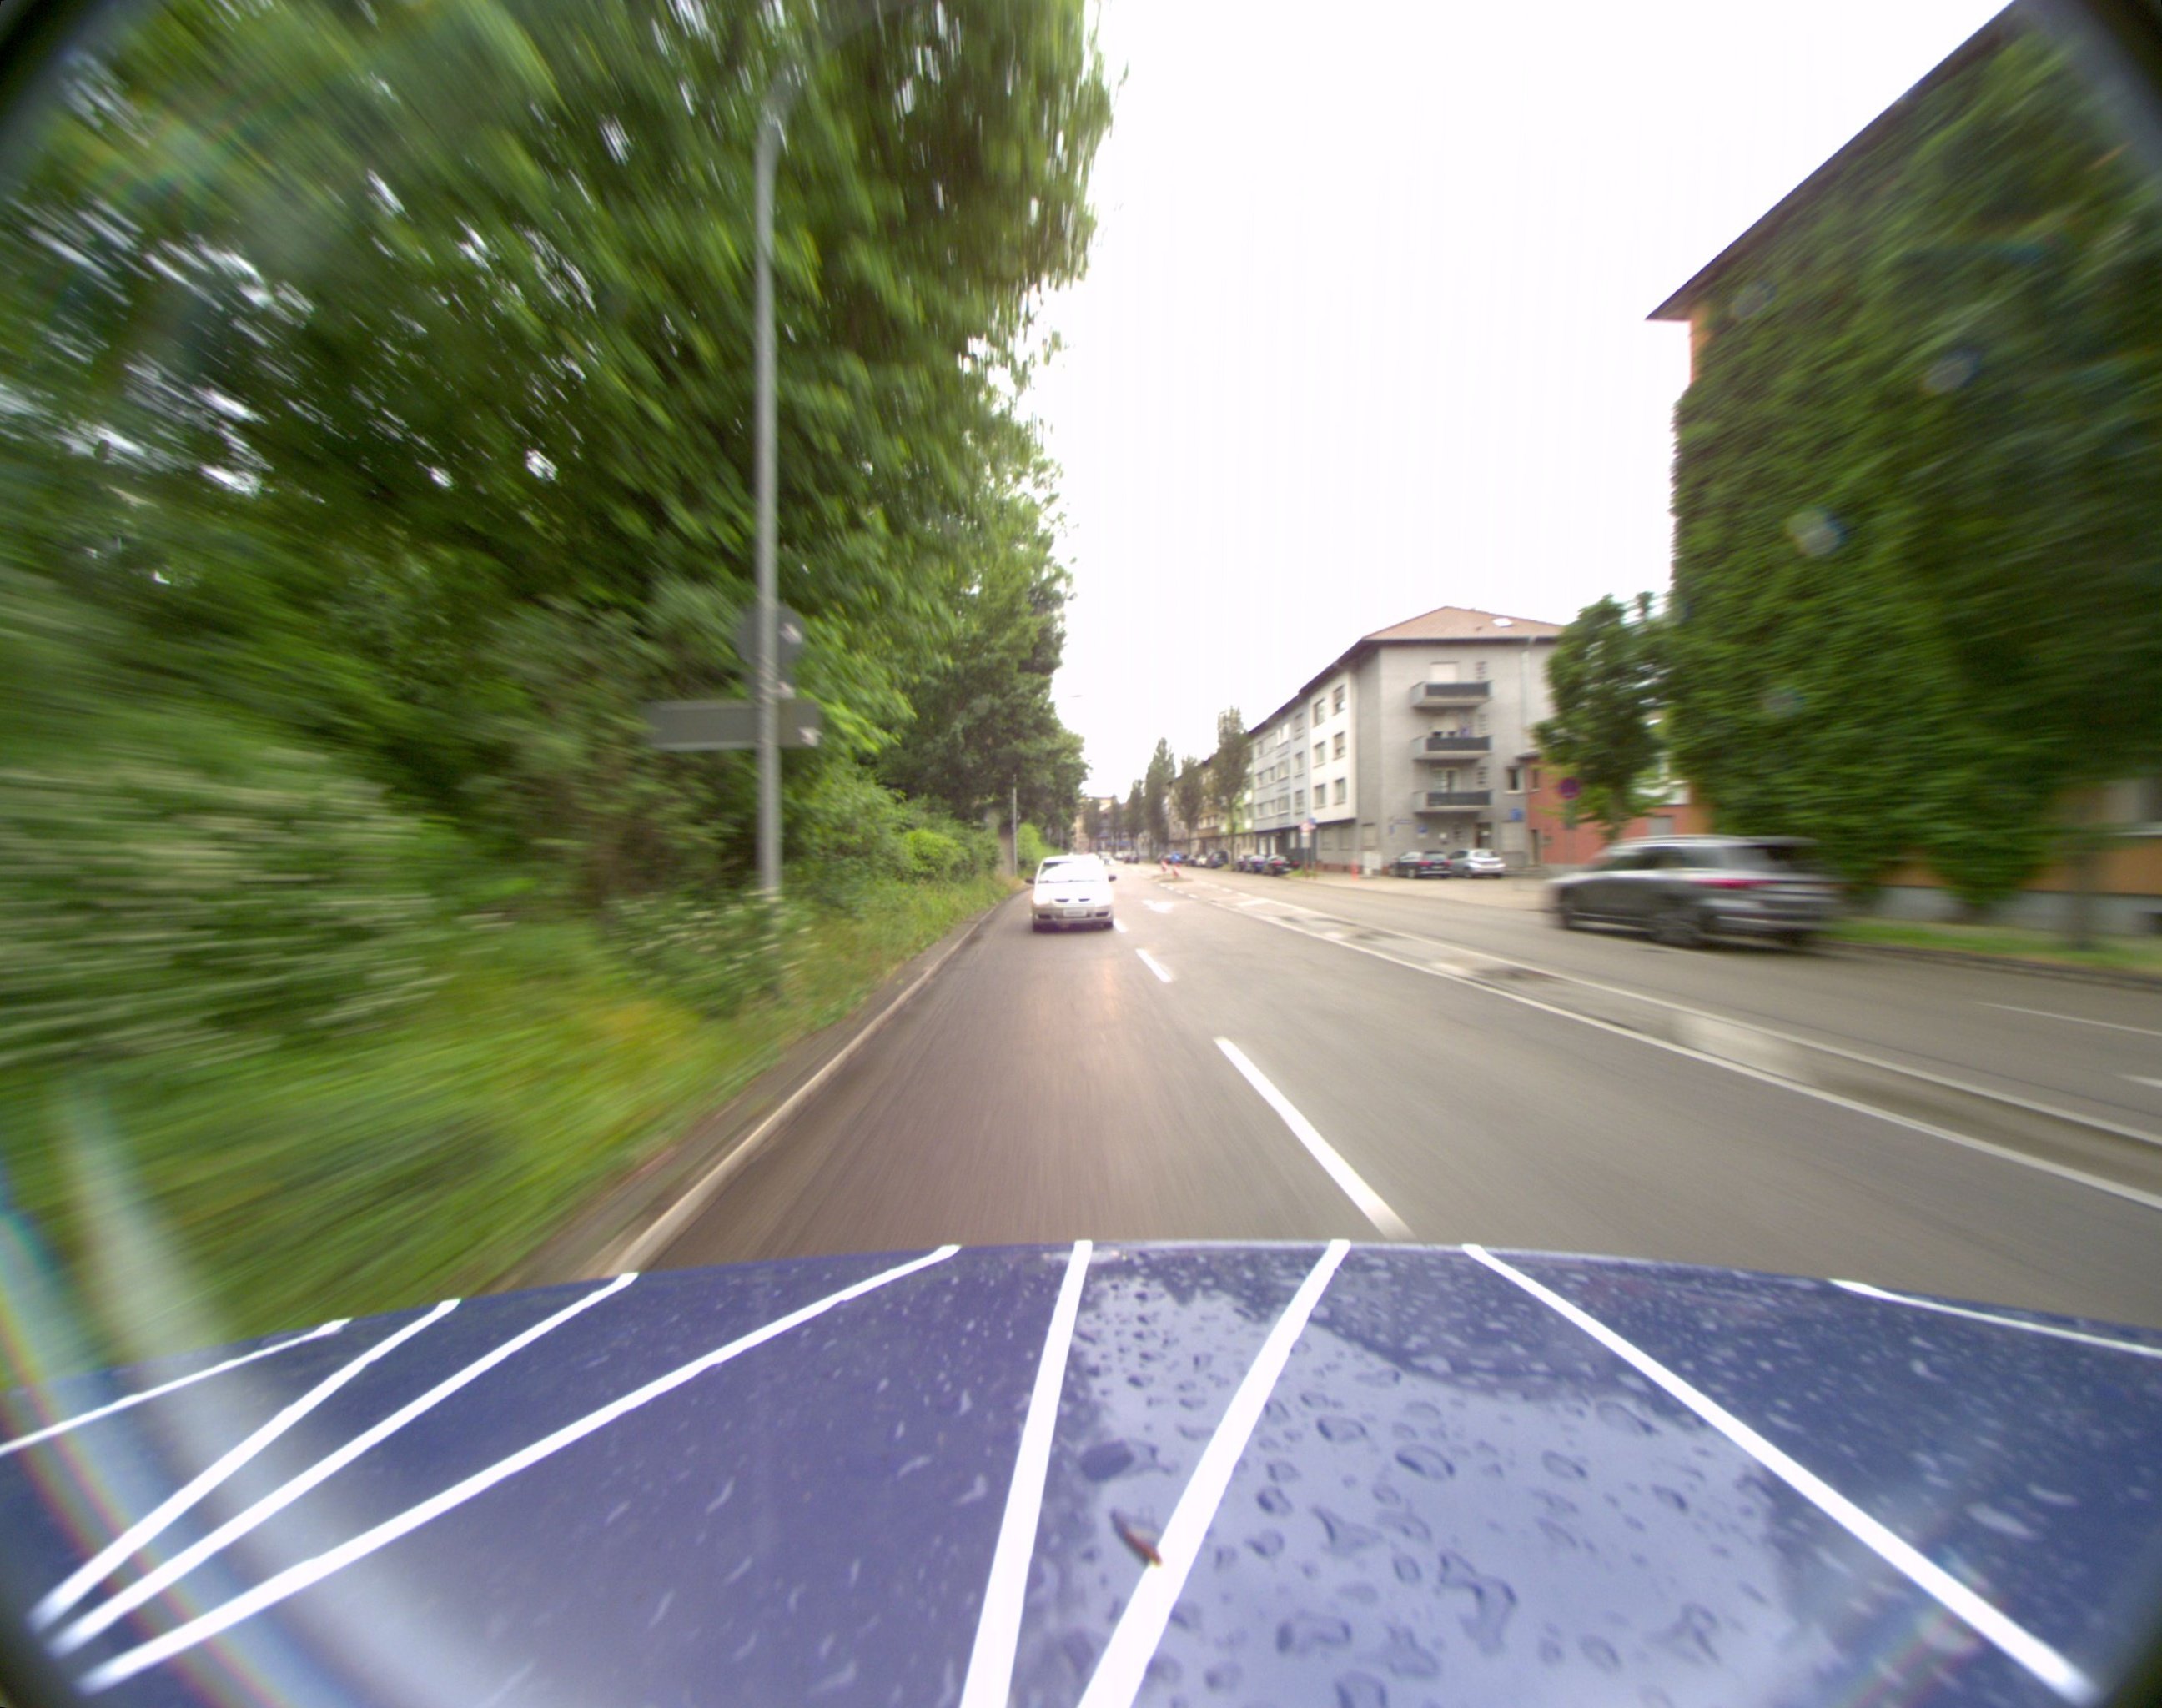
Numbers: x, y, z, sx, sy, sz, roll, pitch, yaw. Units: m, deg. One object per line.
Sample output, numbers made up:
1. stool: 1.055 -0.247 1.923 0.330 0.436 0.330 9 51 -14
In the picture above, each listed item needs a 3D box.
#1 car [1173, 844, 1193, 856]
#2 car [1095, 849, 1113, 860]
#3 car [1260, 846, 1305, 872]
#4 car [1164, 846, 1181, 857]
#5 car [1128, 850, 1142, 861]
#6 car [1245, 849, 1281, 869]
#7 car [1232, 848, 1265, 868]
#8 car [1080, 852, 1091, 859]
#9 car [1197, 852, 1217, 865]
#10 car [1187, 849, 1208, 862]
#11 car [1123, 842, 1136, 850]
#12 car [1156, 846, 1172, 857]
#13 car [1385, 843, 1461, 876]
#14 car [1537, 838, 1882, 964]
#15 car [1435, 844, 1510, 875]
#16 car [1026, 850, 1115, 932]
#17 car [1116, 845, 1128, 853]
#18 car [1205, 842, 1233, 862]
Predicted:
1. car: 13.068 -0.557 97.490 1.868 1.504 3.999 -1 1 -1
2. car: 3.061 0.042 101.034 1.999 1.455 3.998 0 1 -4
3. car: 13.304 0.277 50.293 1.851 1.536 4.247 -3 1 1
4. car: 12.760 -0.363 106.443 1.868 1.558 4.172 0 1 -1
5. car: 7.640 0.248 107.849 1.816 1.507 4.290 1 0 1
6. car: 13.338 0.356 55.971 1.726 1.376 3.926 0 1 0
7. car: 13.551 0.305 61.640 1.726 1.472 4.314 1 1 0
8. car: 1.109 0.406 178.253 1.869 1.558 4.169 0 1 -10
9. car: 13.358 0.488 80.531 1.547 1.369 3.448 0 0 0
10. car: 13.078 0.188 85.423 1.547 1.338 4.251 1 1 -2
11. car: 9.716 -1.571 152.769 1.868 1.558 4.171 0 1 -6
12. car: 12.228 -0.405 112.733 1.868 1.591 4.172 0 1 -1
13. car: 17.614 0.256 39.384 1.855 1.477 4.634 -3 1 1
14. car: 9.594 0.594 12.232 1.926 1.622 4.502 1 1 3
15. car: 20.256 0.227 39.475 1.734 1.516 4.228 0 1 1
16. car: -0.227 0.765 17.924 1.755 1.586 4.168 -4 0 0
17. car: 8.861 -1.099 163.635 1.869 1.558 4.170 0 1 -8
18. car: 13.619 -0.243 75.076 1.905 1.859 4.314 -1 1 0
